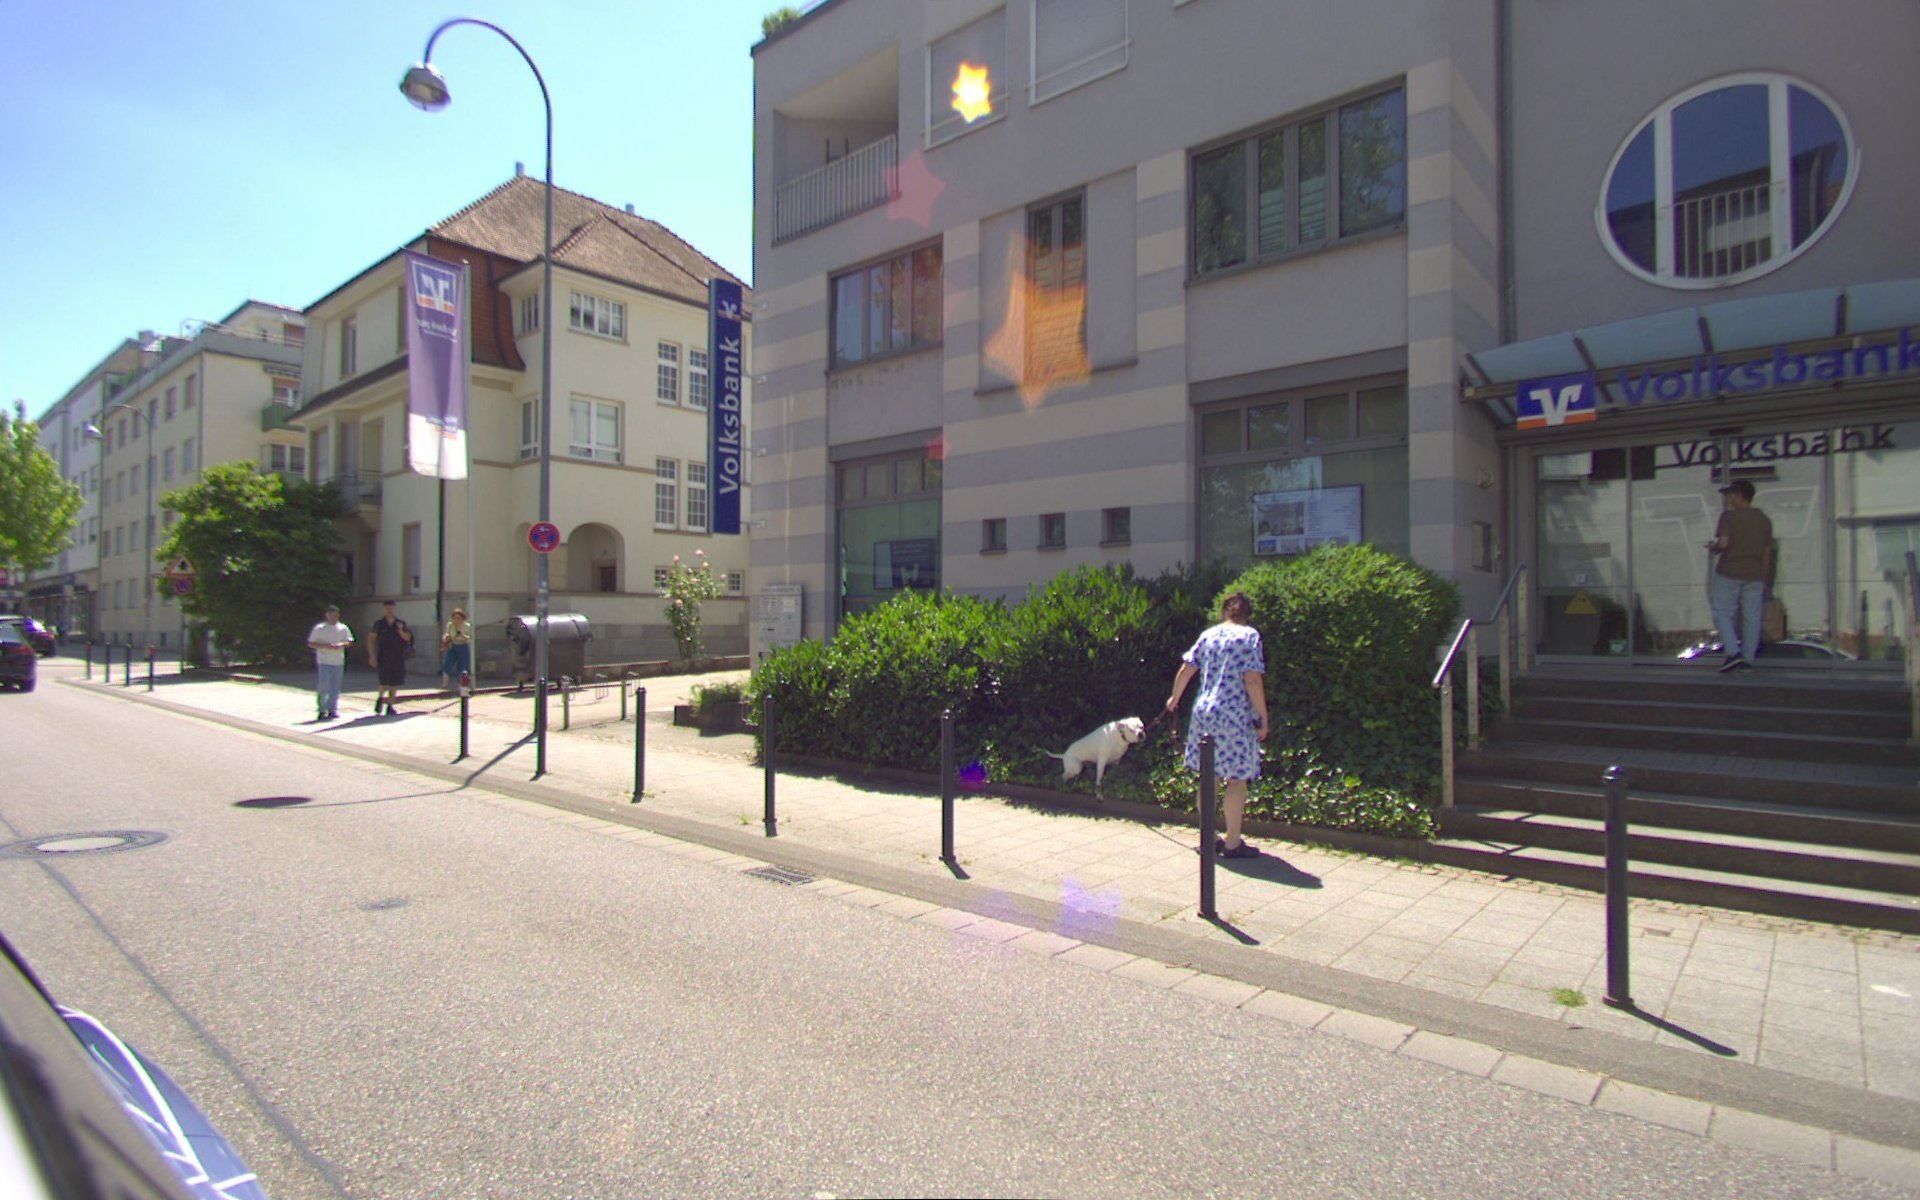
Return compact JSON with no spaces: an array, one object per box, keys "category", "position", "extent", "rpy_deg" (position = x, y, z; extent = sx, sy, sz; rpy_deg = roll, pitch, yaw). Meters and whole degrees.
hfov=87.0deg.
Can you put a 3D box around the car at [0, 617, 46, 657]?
[{"category":"car","position":[-41.803,1.606,44.570],"extent":[4.290,1.683,1.710],"rpy_deg":[-1,-1,40]}]

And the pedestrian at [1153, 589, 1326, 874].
[{"category":"pedestrian","position":[1.786,0.762,6.452],"extent":[0.751,1.657,0.836],"rpy_deg":[-1,0,42]}]

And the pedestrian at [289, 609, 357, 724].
[{"category":"pedestrian","position":[-9.746,0.994,15.491],"extent":[0.903,1.689,0.614],"rpy_deg":[-1,0,40]}]

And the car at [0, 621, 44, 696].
[{"category":"car","position":[-21.246,1.203,21.699],"extent":[4.260,1.522,1.810],"rpy_deg":[-1,-4,41]}]

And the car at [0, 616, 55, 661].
[{"category":"car","position":[-37.447,1.497,40.176],"extent":[4.291,1.683,1.709],"rpy_deg":[-1,-1,41]}]

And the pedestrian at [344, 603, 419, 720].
[{"category":"pedestrian","position":[-9.211,0.953,16.115],"extent":[0.950,1.784,0.740],"rpy_deg":[-1,-2,40]}]

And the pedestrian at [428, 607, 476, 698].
[{"category":"pedestrian","position":[-9.581,0.980,19.099],"extent":[0.734,1.687,0.534],"rpy_deg":[-1,-3,40]}]

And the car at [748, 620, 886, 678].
[{"category":"car","position":[-4.322,1.455,30.876],"extent":[3.821,1.592,1.796],"rpy_deg":[0,-2,-43]}]

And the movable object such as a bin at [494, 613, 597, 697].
[{"category":"movable object such as a bin","position":[-7.986,1.025,19.527],"extent":[1.294,1.499,1.372],"rpy_deg":[-1,1,41]}]

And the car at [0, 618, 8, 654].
[{"category":"car","position":[-46.703,1.706,48.093],"extent":[4.291,1.683,1.709],"rpy_deg":[-1,-1,41]}]

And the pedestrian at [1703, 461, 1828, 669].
[{"category":"pedestrian","position":[7.005,-0.291,8.829],"extent":[0.604,1.752,0.580],"rpy_deg":[0,-2,5]}]
